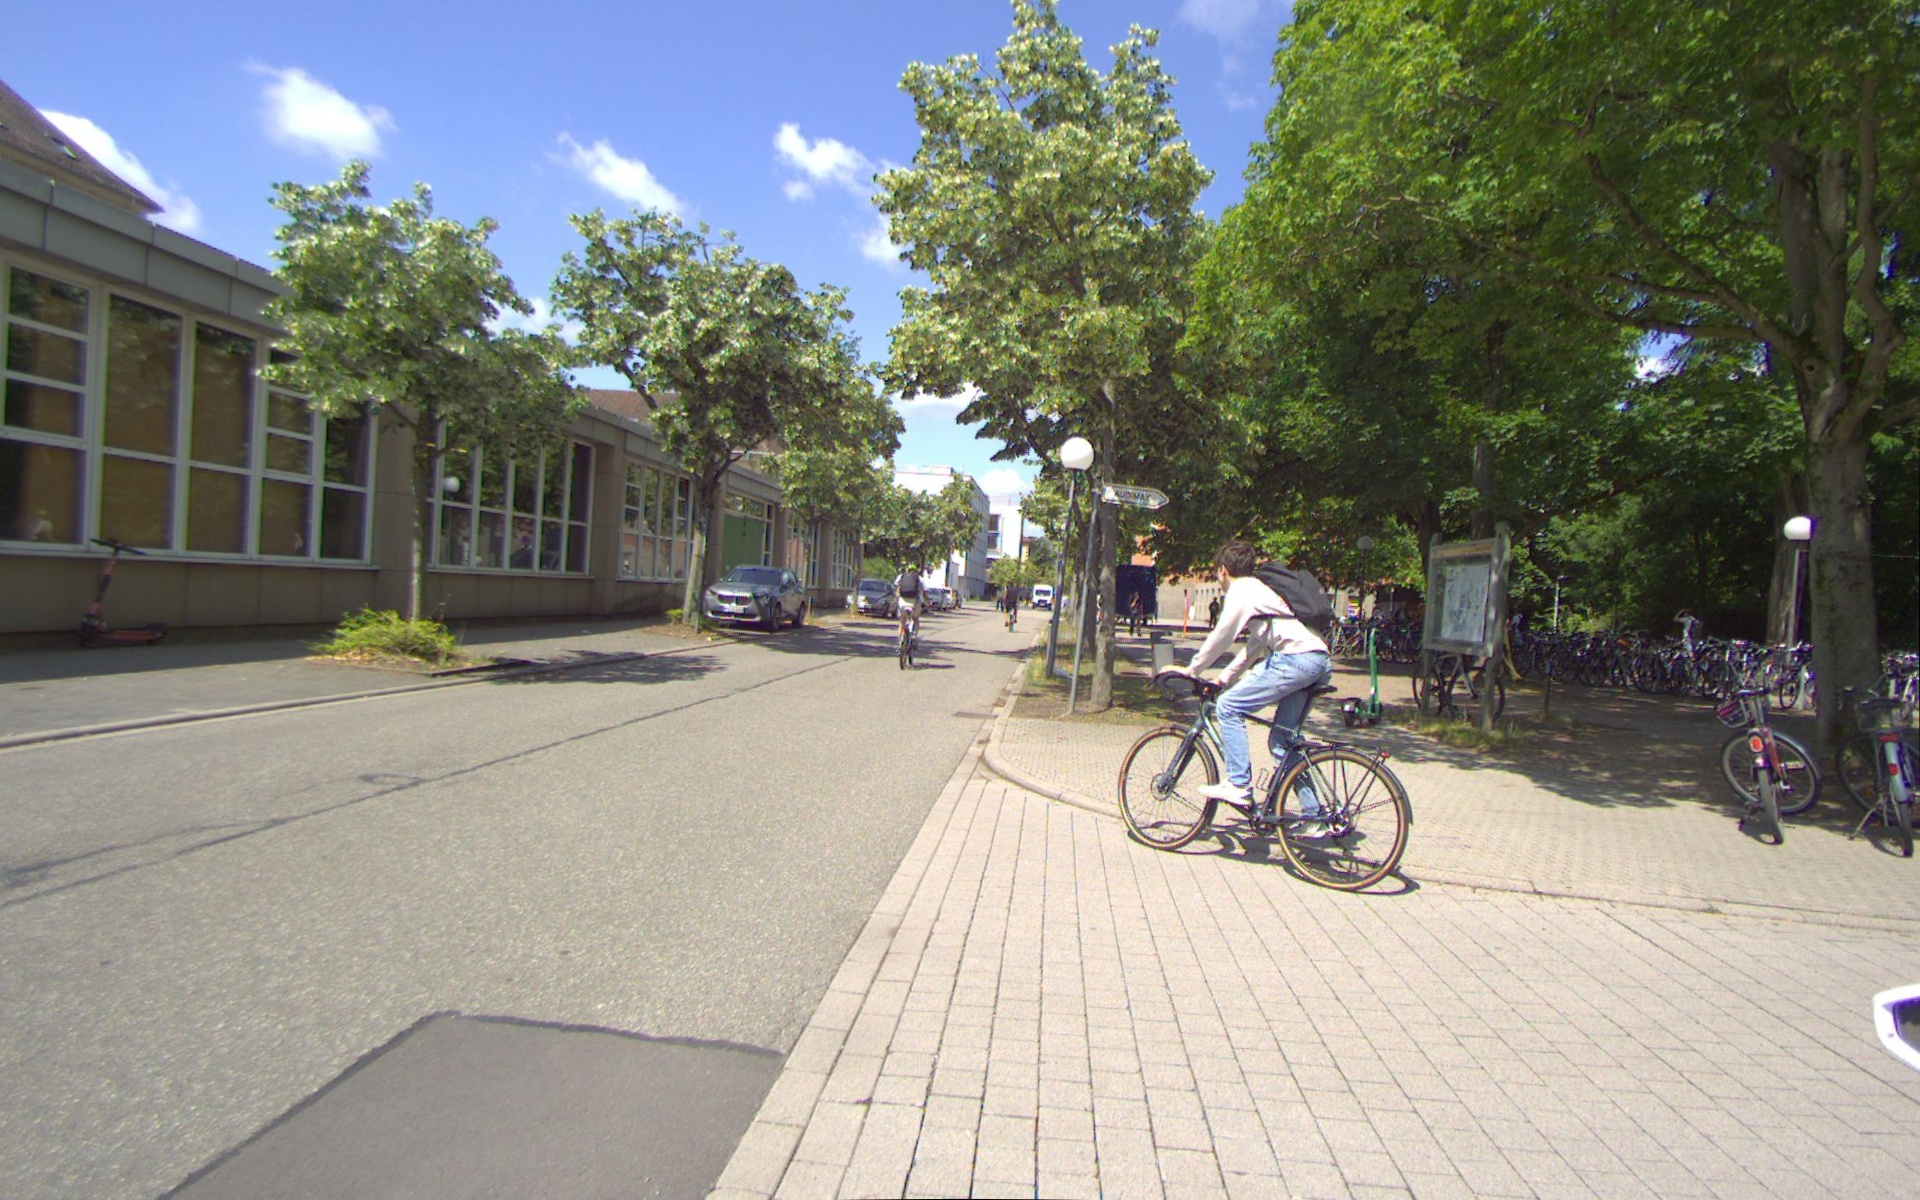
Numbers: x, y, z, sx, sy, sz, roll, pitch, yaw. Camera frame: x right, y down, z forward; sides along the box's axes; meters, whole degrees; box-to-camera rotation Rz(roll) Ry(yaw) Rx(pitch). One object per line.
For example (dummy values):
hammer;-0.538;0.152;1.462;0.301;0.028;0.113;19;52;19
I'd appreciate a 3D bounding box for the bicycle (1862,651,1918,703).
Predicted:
bicycle;20.765;1.723;22.421;1.682;1.098;0.469;3;2;-34

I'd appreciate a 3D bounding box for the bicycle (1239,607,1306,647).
bicycle;9.998;0.855;32.128;1.996;1.123;0.501;4;2;-13

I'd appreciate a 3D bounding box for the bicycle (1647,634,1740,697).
bicycle;14.374;1.295;19.676;1.978;1.123;0.499;4;2;-25

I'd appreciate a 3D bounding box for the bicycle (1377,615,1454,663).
bicycle;11.859;1.016;26.131;2.001;1.123;0.500;4;2;-22

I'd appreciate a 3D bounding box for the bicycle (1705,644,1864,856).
bicycle;5.482;0.919;6.762;0.628;1.175;1.625;3;1;34

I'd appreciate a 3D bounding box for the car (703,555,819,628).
car;-5.239;-0.234;27.114;1.802;1.638;4.540;5;1;4

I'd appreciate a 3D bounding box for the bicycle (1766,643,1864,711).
bicycle;15.470;1.405;18.165;1.978;1.123;0.499;4;2;-25

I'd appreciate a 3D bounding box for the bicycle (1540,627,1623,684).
bicycle;13.468;1.205;21.749;2.005;1.123;0.499;4;2;-27

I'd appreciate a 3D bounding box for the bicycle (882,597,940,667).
bicycle;-0.847;0.535;17.774;0.593;1.123;2.073;3;0;8

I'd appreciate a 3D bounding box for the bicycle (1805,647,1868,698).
bicycle;20.319;1.680;23.283;1.679;1.098;0.470;4;2;-28

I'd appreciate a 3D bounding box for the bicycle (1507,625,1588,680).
bicycle;13.128;1.181;22.437;2.005;1.123;0.499;4;2;-27

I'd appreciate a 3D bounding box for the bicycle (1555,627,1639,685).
bicycle;13.615;1.208;21.444;2.005;1.123;0.499;4;2;-27

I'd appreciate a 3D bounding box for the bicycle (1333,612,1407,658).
bicycle;11.203;0.962;27.429;2.001;1.123;0.500;4;2;-22

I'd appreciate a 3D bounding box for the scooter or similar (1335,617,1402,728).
scooter or similar;4.763;0.827;11.684;0.288;1.210;1.180;4;1;41

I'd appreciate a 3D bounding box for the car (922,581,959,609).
car;-1.186;-0.286;62.644;1.801;1.561;4.540;4;1;4

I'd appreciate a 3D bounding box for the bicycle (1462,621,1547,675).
bicycle;12.679;1.115;23.375;2.001;1.123;0.500;4;2;-22

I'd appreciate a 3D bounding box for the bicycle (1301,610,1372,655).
bicycle;10.783;0.932;28.744;2.001;1.123;0.500;4;2;-22

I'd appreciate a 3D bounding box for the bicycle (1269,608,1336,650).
bicycle;10.394;0.872;30.458;2.001;1.123;0.500;4;2;-22

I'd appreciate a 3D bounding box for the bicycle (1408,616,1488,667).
bicycle;12.168;1.042;25.024;2.001;1.123;0.500;4;2;-22

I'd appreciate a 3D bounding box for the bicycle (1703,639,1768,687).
bicycle;19.550;1.602;25.304;1.676;1.098;0.471;4;2;-24

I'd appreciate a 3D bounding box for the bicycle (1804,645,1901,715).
bicycle;15.726;1.414;17.691;1.881;1.123;0.499;4;2;-25

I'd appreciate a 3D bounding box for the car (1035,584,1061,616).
car;9.007;0.033;103.069;2.224;3.053;5.742;5;0;5

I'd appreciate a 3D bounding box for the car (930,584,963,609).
car;-0.904;-0.265;68.837;1.801;1.561;4.540;4;1;4

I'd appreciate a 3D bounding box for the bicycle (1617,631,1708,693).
bicycle;14.147;1.256;20.223;1.978;1.123;0.499;4;2;-25

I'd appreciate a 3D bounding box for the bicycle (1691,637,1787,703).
bicycle;14.772;1.331;19.033;1.978;1.123;0.499;4;2;-25

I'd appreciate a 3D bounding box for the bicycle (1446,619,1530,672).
bicycle;12.567;1.090;23.907;2.001;1.123;0.500;4;2;-22

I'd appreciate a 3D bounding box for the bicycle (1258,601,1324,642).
bicycle;10.211;0.656;30.937;2.001;1.123;0.500;4;2;-22

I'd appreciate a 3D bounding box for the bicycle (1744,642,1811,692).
bicycle;19.800;1.625;24.314;1.676;1.098;0.471;4;2;-24

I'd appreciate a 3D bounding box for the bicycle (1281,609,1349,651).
bicycle;10.537;0.889;29.815;2.001;1.123;0.500;4;2;-22

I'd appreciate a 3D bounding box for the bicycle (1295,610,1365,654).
bicycle;10.738;0.926;29.106;2.001;1.123;0.500;4;2;-22

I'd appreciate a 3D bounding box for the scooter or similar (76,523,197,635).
scooter or similar;-9.638;-0.234;11.800;0.284;1.242;1.159;4;1;9

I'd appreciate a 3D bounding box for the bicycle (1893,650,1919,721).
bicycle;16.361;1.453;16.689;1.881;1.123;0.499;4;2;-25

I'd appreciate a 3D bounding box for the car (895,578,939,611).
car;-2.262;-0.282;53.945;1.801;1.561;4.540;4;1;4

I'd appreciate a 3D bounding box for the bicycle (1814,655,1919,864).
bicycle;6.024;0.962;6.446;0.580;1.123;1.741;3;1;34

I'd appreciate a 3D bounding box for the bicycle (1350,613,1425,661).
bicycle;11.423;0.988;26.840;2.001;1.123;0.500;4;2;-22

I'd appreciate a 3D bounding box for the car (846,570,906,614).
car;-3.509;-0.326;42.874;1.801;1.655;4.540;4;1;4

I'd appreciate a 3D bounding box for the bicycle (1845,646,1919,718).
bicycle;15.887;1.408;17.062;1.881;1.123;0.499;4;2;-25
